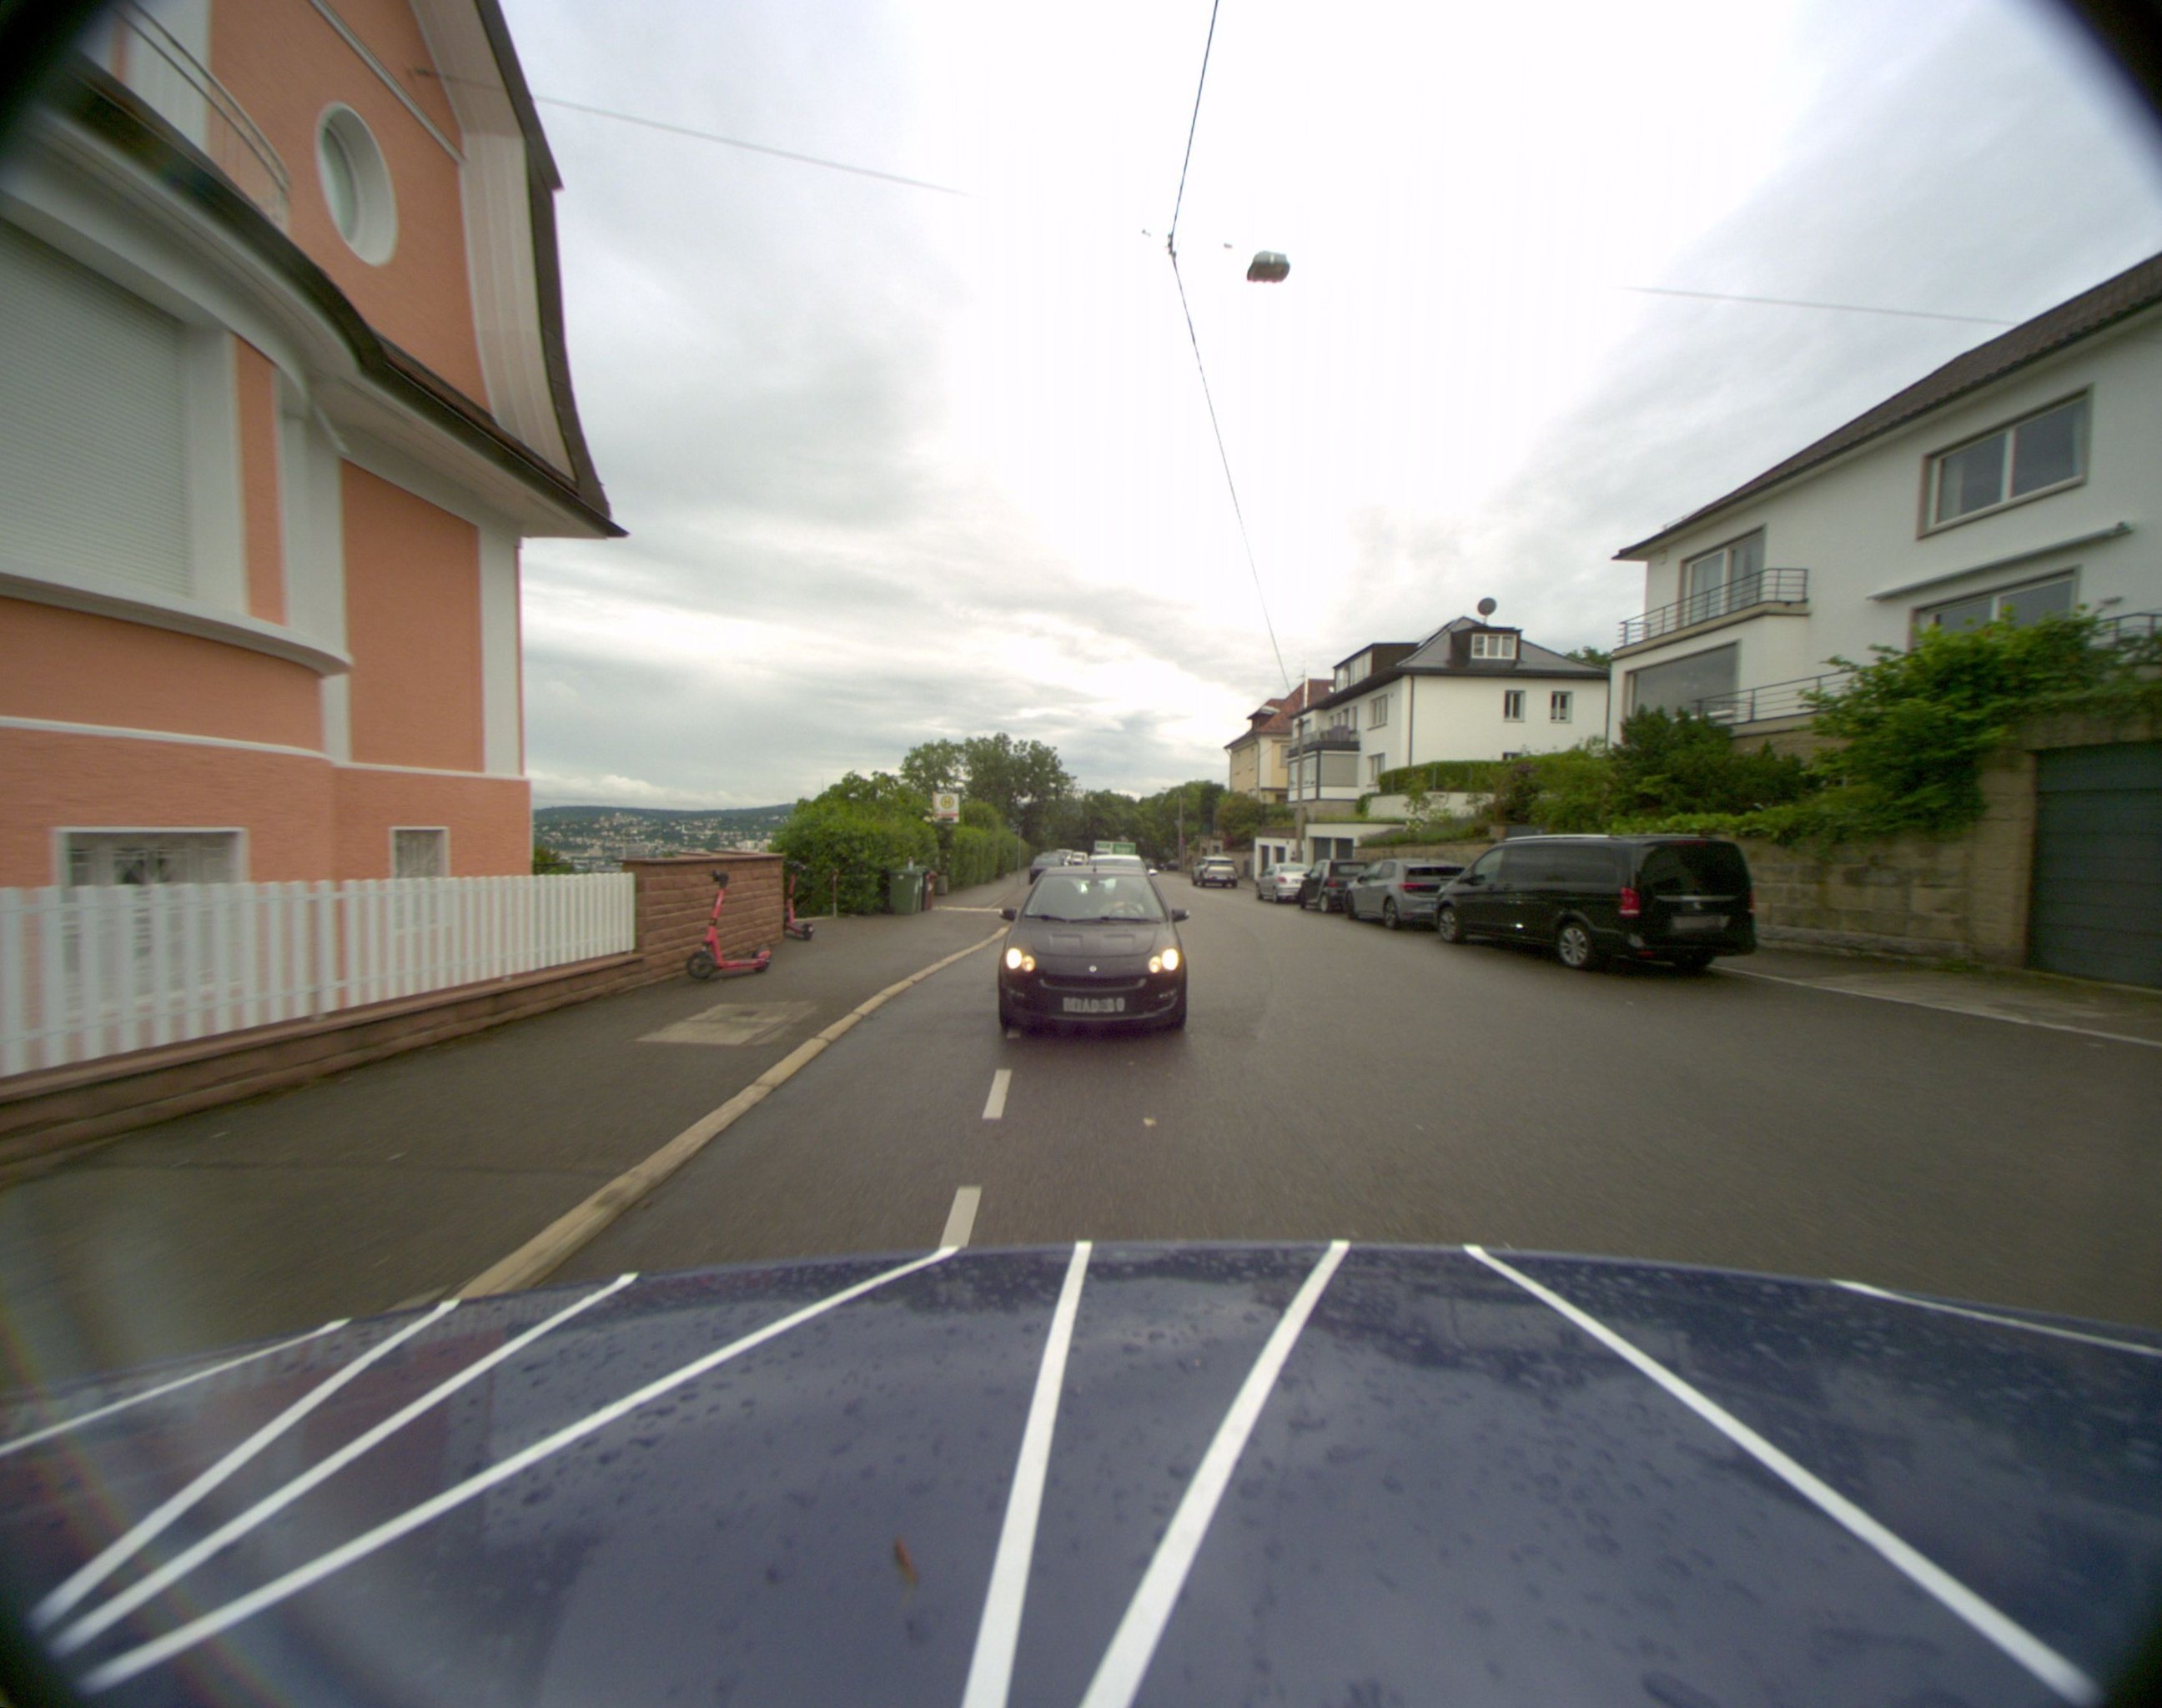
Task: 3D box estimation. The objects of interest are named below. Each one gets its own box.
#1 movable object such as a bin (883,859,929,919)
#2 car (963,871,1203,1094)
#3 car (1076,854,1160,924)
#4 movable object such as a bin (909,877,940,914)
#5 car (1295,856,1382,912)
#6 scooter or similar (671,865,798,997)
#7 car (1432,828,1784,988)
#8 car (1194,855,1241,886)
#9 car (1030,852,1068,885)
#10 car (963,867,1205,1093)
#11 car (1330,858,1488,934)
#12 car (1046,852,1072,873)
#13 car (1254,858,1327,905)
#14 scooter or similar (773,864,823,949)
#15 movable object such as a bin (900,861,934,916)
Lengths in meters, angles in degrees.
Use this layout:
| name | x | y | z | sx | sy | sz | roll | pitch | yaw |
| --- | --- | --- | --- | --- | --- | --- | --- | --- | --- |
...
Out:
| name | x | y | z | sx | sy | sz | roll | pitch | yaw |
| --- | --- | --- | --- | --- | --- | --- | --- | --- | --- |
| movable object such as a bin | -3.906 | 0.769 | 16.992 | 0.726 | 1.239 | 0.917 | 3 | 1 | 3 |
| car | 0.280 | 0.945 | 7.381 | 1.710 | 1.414 | 4.002 | 0 | 1 | 8 |
| car | 0.872 | 0.831 | 20.082 | 1.929 | 1.577 | 3.999 | -1 | 1 | -1 |
| movable object such as a bin | -3.796 | 0.999 | 18.475 | 0.613 | 0.859 | 0.590 | -1 | 1 | 3 |
| car | 7.506 | 0.824 | 22.388 | 1.522 | 1.482 | 2.893 | -2 | 0 | -1 |
| scooter or similar | -4.053 | 0.844 | 9.000 | 0.355 | 1.394 | 1.480 | 0 | 1 | 23 |
| car | 7.741 | 0.667 | 11.933 | 1.999 | 1.945 | 4.772 | -2 | 0 | -4 |
| car | 7.076 | 0.828 | 39.738 | 1.868 | 1.492 | 4.000 | -1 | 1 | 1 |
| car | -1.651 | 0.736 | 40.799 | 1.929 | 1.577 | 3.999 | -1 | 1 | -1 |
| car | 0.287 | 0.935 | 7.362 | 1.695 | 1.482 | 3.942 | -2 | 0 | 8 |
| car | 7.494 | 0.887 | 17.883 | 1.696 | 1.482 | 4.402 | -2 | 0 | -1 |
| car | -1.643 | 0.627 | 58.533 | 1.929 | 1.447 | 3.999 | -1 | 1 | -1 |
| car | 7.355 | 0.912 | 26.968 | 1.594 | 1.482 | 3.437 | -2 | 0 | 0 |
| scooter or similar | -4.647 | 0.830 | 12.439 | 0.357 | 1.265 | 1.290 | -2 | 3 | -39 |
| movable object such as a bin | -3.833 | 0.802 | 17.815 | 0.613 | 1.239 | 0.684 | -1 | 1 | 3 |
